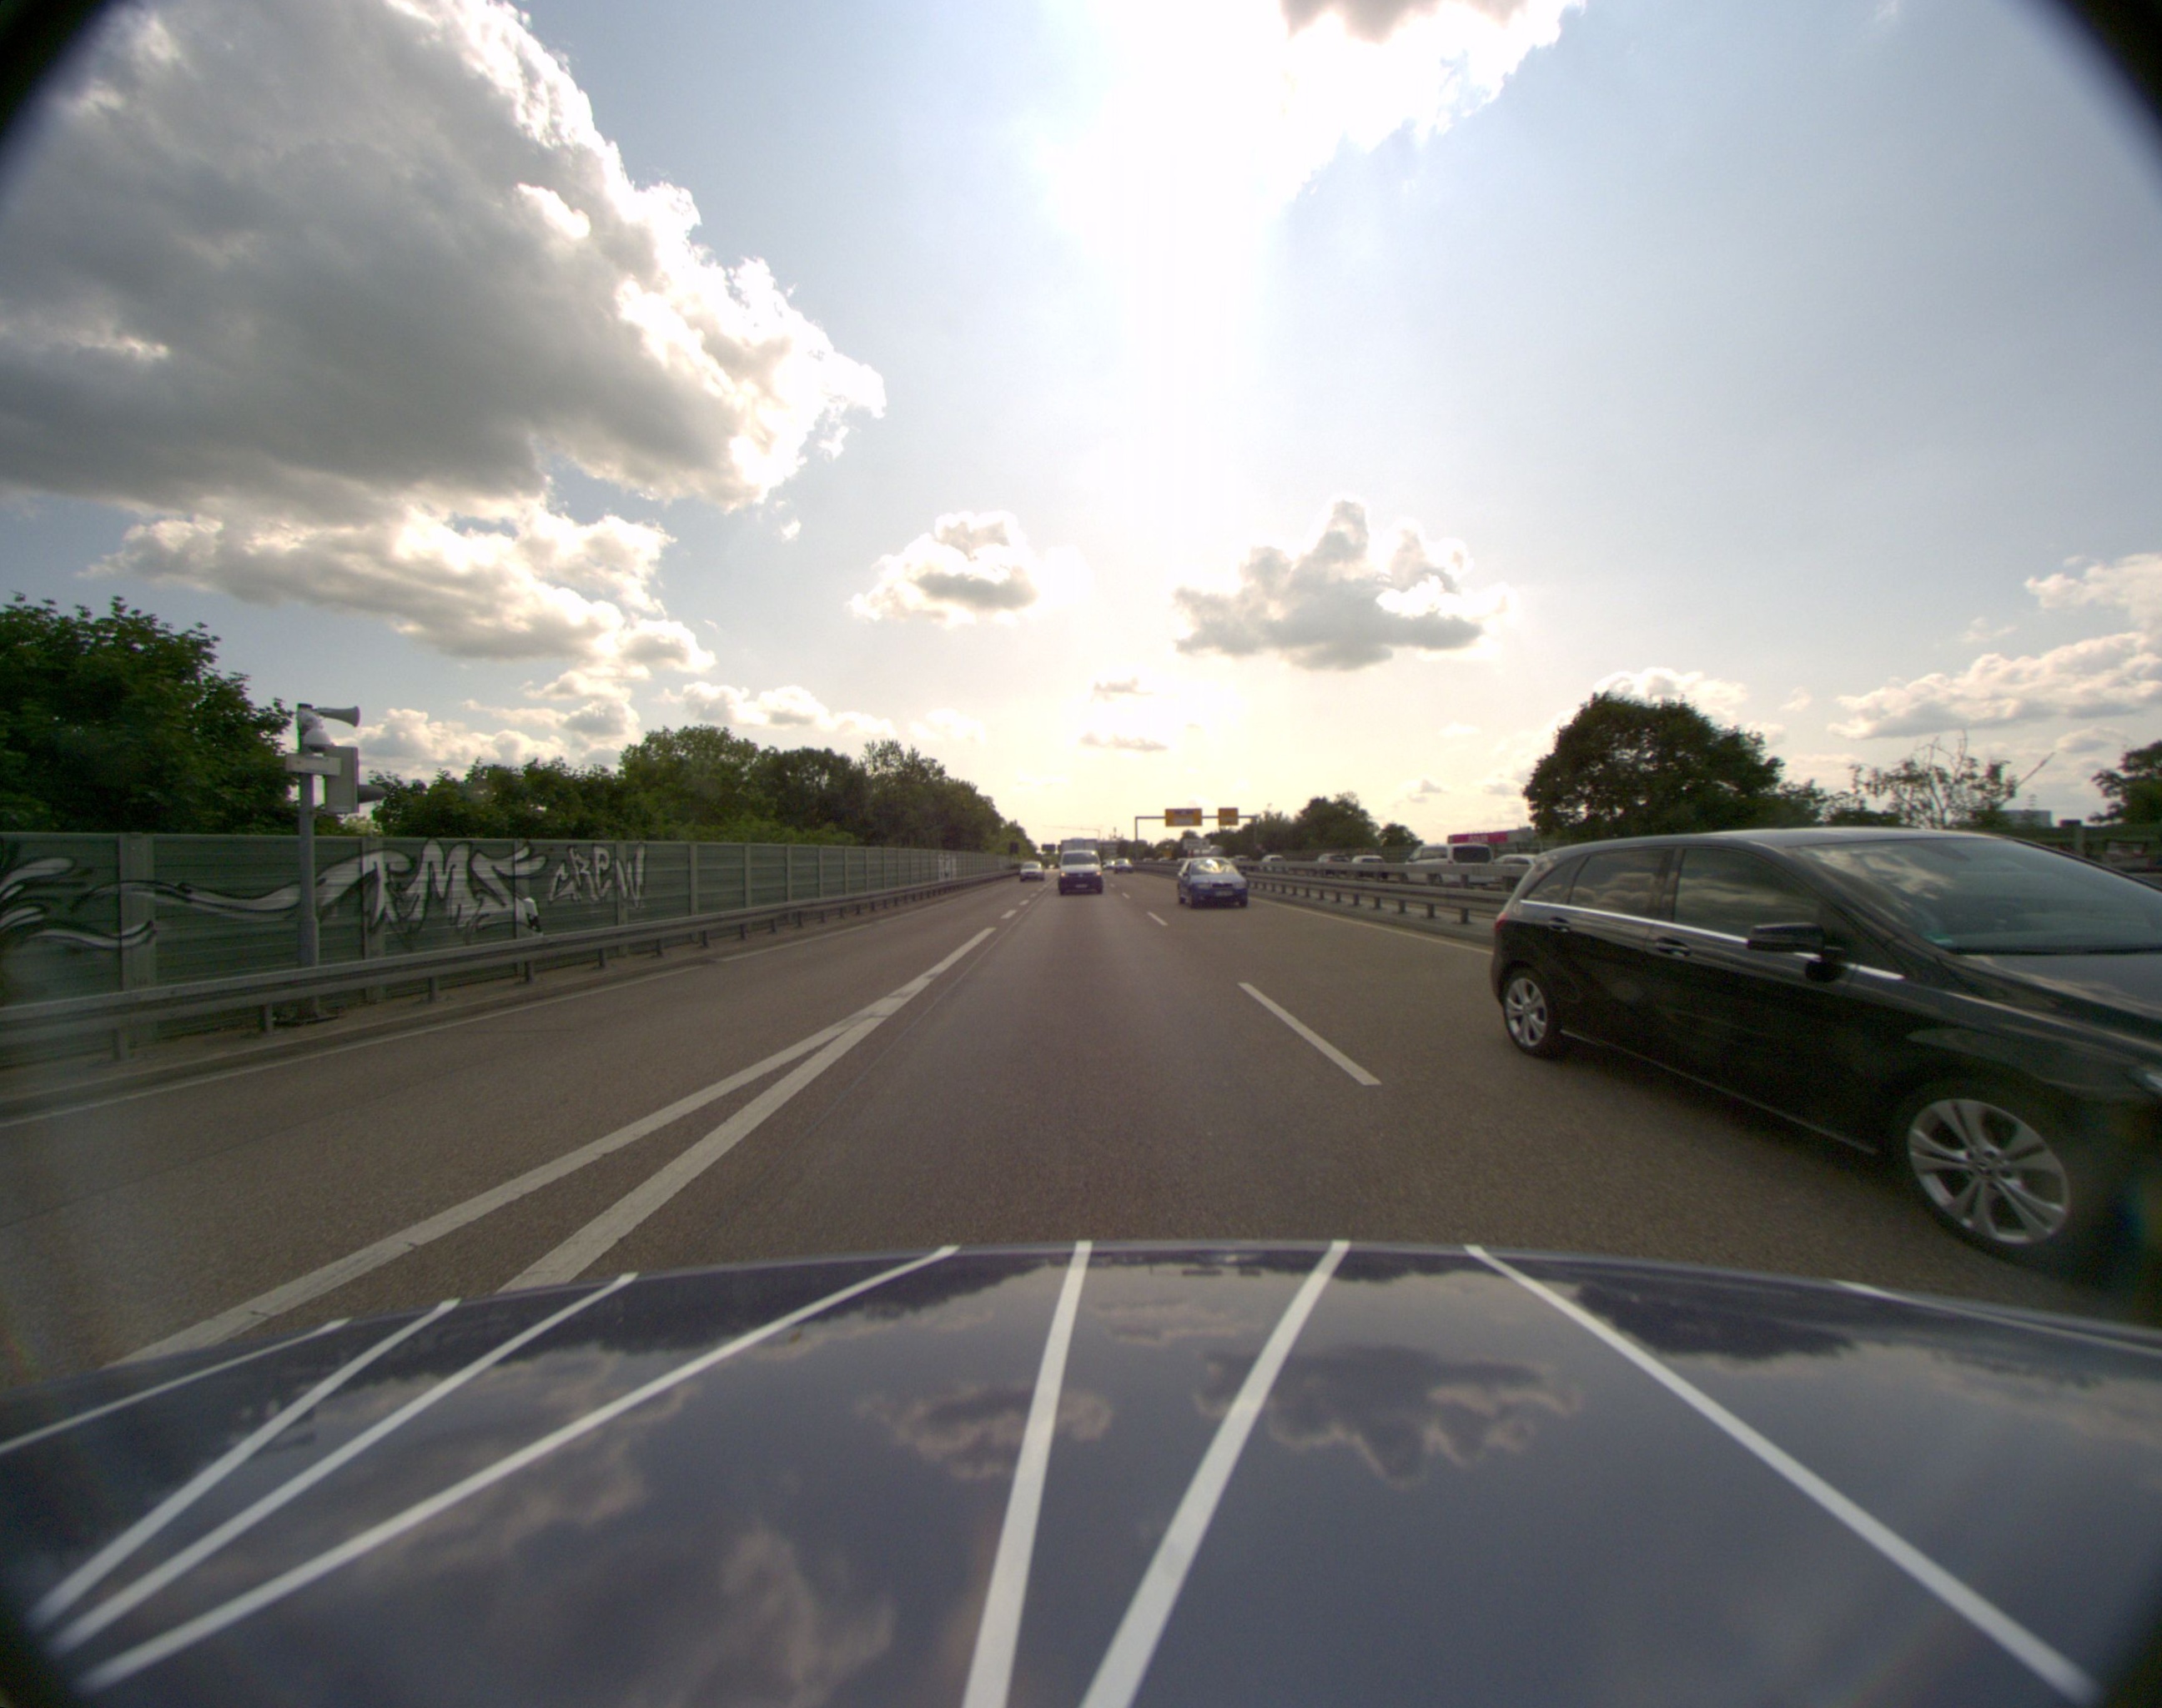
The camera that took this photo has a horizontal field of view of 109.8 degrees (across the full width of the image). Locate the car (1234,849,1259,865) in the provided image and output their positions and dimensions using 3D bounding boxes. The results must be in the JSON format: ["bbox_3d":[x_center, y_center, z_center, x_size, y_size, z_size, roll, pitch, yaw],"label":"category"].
[{"bbox_3d":[17.102,0.286,78.693,1.719,1.610,4.281,0,0,0],"label":"car"}]

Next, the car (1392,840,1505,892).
[{"bbox_3d":[15.288,0.486,32.027,1.965,1.914,5.191,-3,-1,-2],"label":"car"}]

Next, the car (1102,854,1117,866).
[{"bbox_3d":[3.787,0.782,101.670,1.895,1.518,4.464,-3,0,0],"label":"car"}]

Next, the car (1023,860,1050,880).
[{"bbox_3d":[-3.412,1.207,58.218,1.768,1.403,3.771,-3,0,0],"label":"car"}]

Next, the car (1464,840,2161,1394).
[{"bbox_3d":[3.917,0.736,3.729,1.716,1.518,4.592,-3,0,0],"label":"car"}]

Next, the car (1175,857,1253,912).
[{"bbox_3d":[3.882,0.834,22.727,1.625,1.403,3.771,-3,0,0],"label":"car"}]

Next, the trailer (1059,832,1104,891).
[{"bbox_3d":[-0.025,0.330,39.037,1.999,2.723,5.966,-3,0,-1],"label":"trailer"}]

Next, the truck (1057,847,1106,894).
[{"bbox_3d":[0.012,0.708,33.974,2.008,1.905,4.000,-2,0,0],"label":"truck"}]

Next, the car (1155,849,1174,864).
[{"bbox_3d":[11.059,0.302,101.061,1.998,1.846,4.238,-3,0,0],"label":"car"}]

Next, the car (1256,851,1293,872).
[{"bbox_3d":[15.671,0.578,61.682,1.929,1.565,3.886,-3,0,-1],"label":"car"}]

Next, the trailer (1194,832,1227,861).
[{"bbox_3d":[17.882,-1.033,105.687,2.691,3.648,11.028,-3,0,1],"label":"trailer"}]

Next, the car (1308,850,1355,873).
[{"bbox_3d":[18.402,0.514,55.947,1.929,1.565,4.282,-2,0,-2],"label":"car"}]

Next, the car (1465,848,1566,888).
[{"bbox_3d":[19.095,0.578,33.629,1.929,1.565,4.282,-2,0,-2],"label":"car"}]

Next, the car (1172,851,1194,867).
[{"bbox_3d":[11.160,0.524,83.252,1.732,1.613,3.741,-3,-1,-2],"label":"car"}]

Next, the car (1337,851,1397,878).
[{"bbox_3d":[17.158,0.589,45.791,1.929,1.565,4.244,-1,0,-1],"label":"car"}]

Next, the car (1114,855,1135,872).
[{"bbox_3d":[4.291,0.967,76.037,1.779,1.518,4.464,-3,0,0],"label":"car"}]

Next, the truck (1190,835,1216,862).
[{"bbox_3d":[17.902,-0.798,111.872,2.655,3.760,6.232,-3,1,0],"label":"truck"}]

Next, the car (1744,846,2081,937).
[{"bbox_3d":[15.197,0.638,14.287,1.789,1.381,4.047,-3,-1,-2],"label":"car"}]
